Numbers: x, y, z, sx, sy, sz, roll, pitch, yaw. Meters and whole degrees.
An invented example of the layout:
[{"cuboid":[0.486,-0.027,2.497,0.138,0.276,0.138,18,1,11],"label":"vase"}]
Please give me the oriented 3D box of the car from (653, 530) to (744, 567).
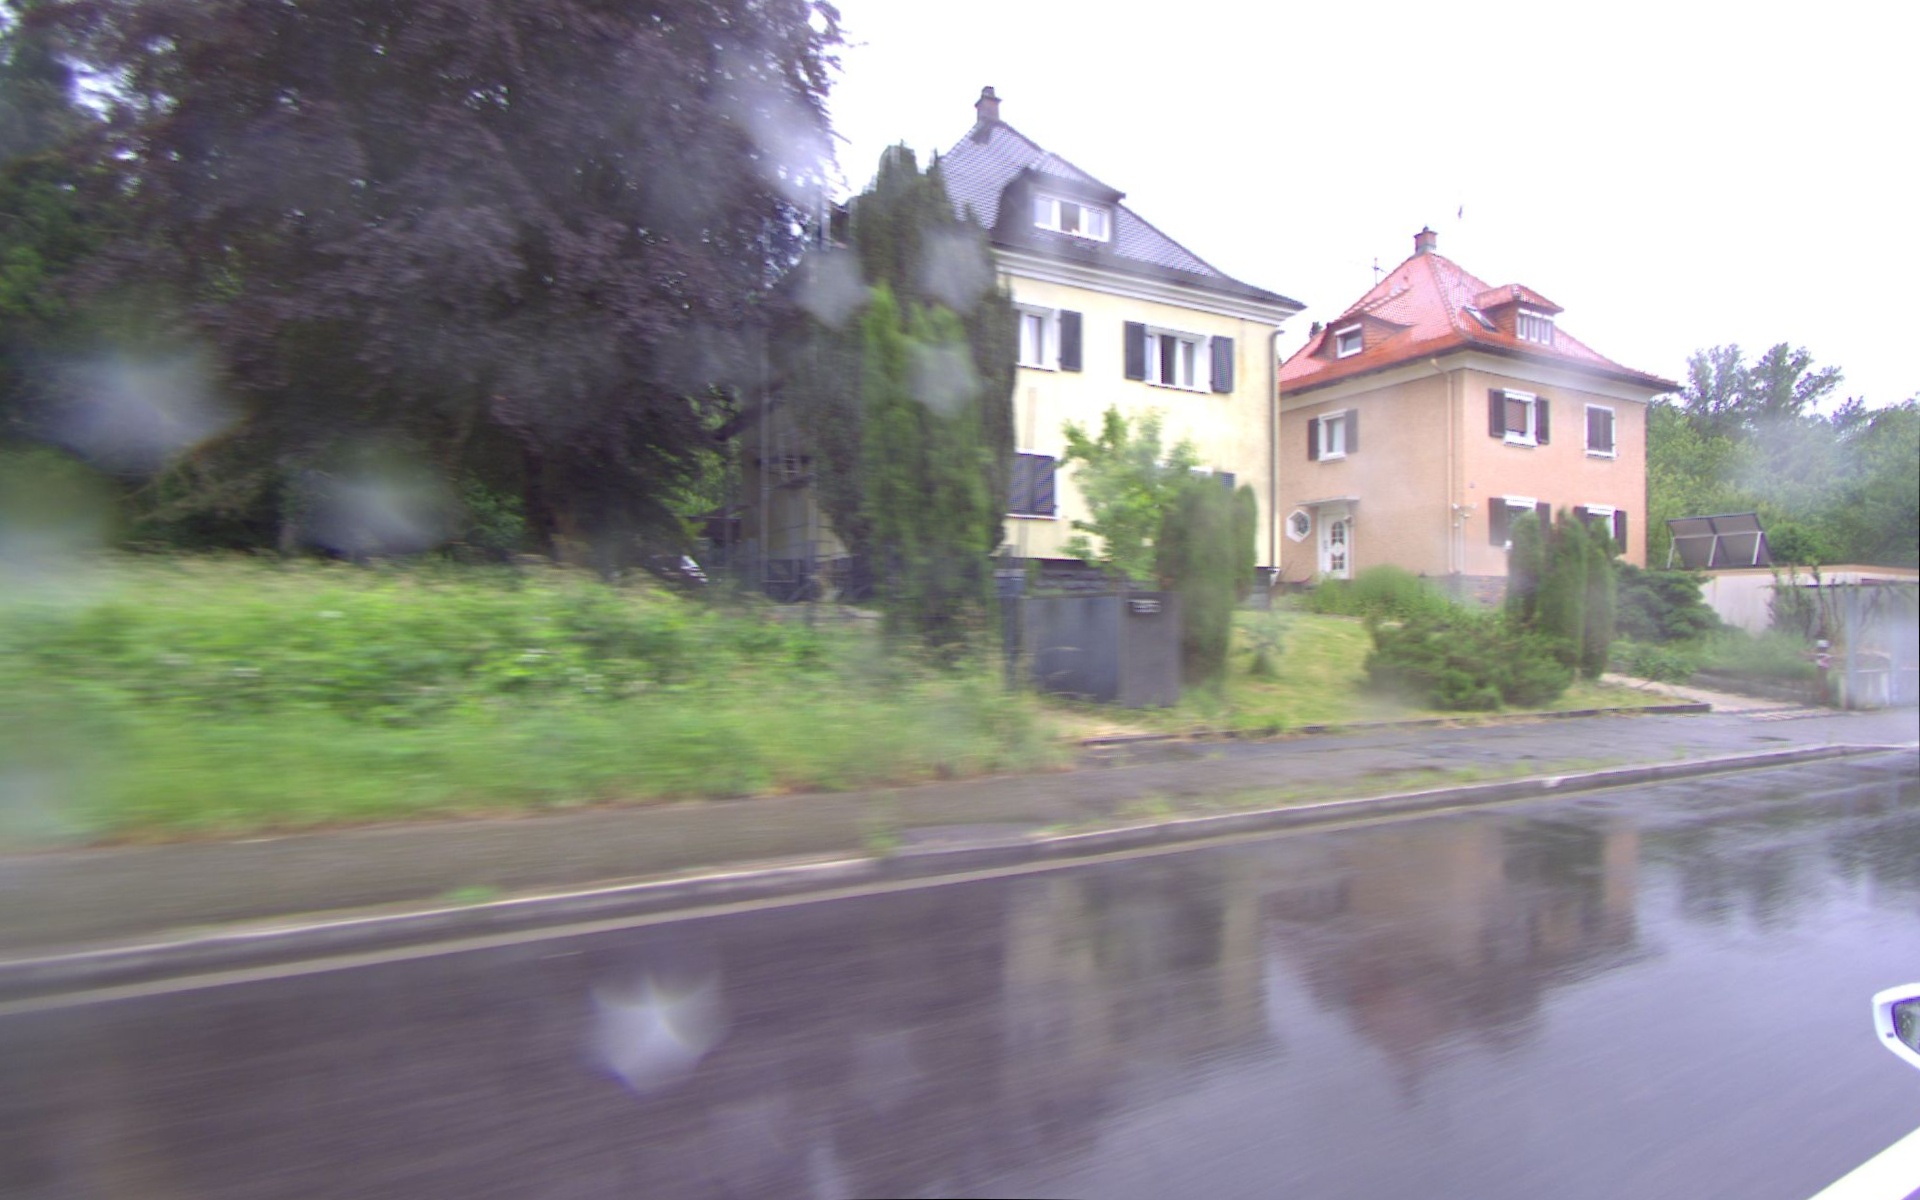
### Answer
[{"cuboid":[-10.958,-2.118,42.081,3.596,1.428,1.794,0,1,-16],"label":"car"}]
